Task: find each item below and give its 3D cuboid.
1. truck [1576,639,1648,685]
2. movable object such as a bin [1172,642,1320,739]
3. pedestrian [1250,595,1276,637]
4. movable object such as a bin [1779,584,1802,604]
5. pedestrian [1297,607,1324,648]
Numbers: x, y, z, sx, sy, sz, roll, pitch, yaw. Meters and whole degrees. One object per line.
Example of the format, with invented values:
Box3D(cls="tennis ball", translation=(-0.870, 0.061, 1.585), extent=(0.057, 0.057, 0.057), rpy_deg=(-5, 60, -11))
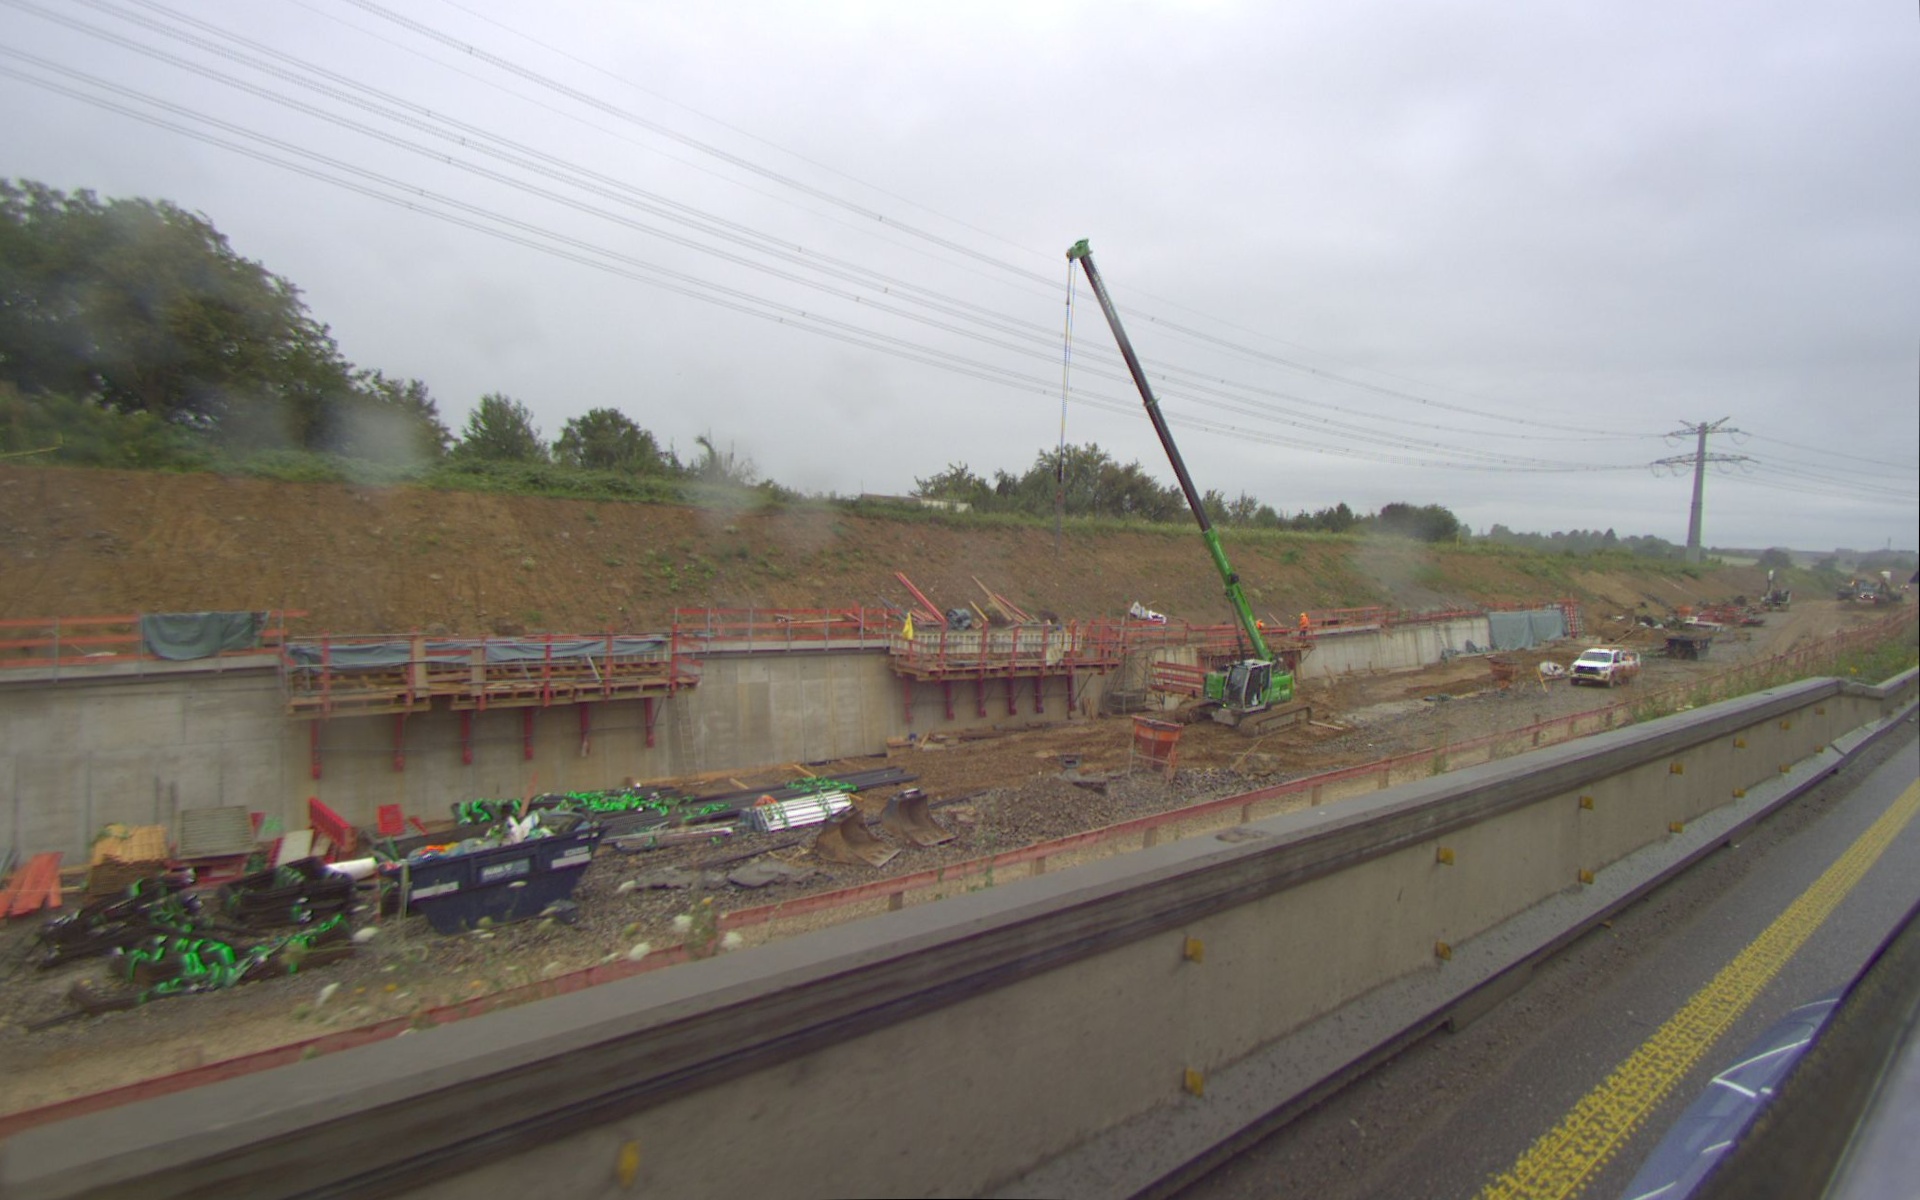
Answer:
Box3D(cls="truck", translation=(34.197, 3.197, 53.018), extent=(5.688, 1.894, 1.765), rpy_deg=(-1, 3, -42))
Box3D(cls="movable object such as a bin", translation=(11.596, 3.505, 40.903), extent=(4.778, 2.836, 3.797), rpy_deg=(-8, 6, -43))
Box3D(cls="pedestrian", translation=(16.988, 0.902, 56.739), extent=(0.915, 2.275, 0.990), rpy_deg=(-6, -3, 44))
Box3D(cls="movable object such as a bin", translation=(118.126, -0.881, 143.978), extent=(2.246, 2.753, 3.936), rpy_deg=(0, 1, 44))
Box3D(cls="pedestrian", translation=(20.026, 1.549, 57.768), extent=(0.988, 2.260, 0.917), rpy_deg=(-2, -3, -38))
